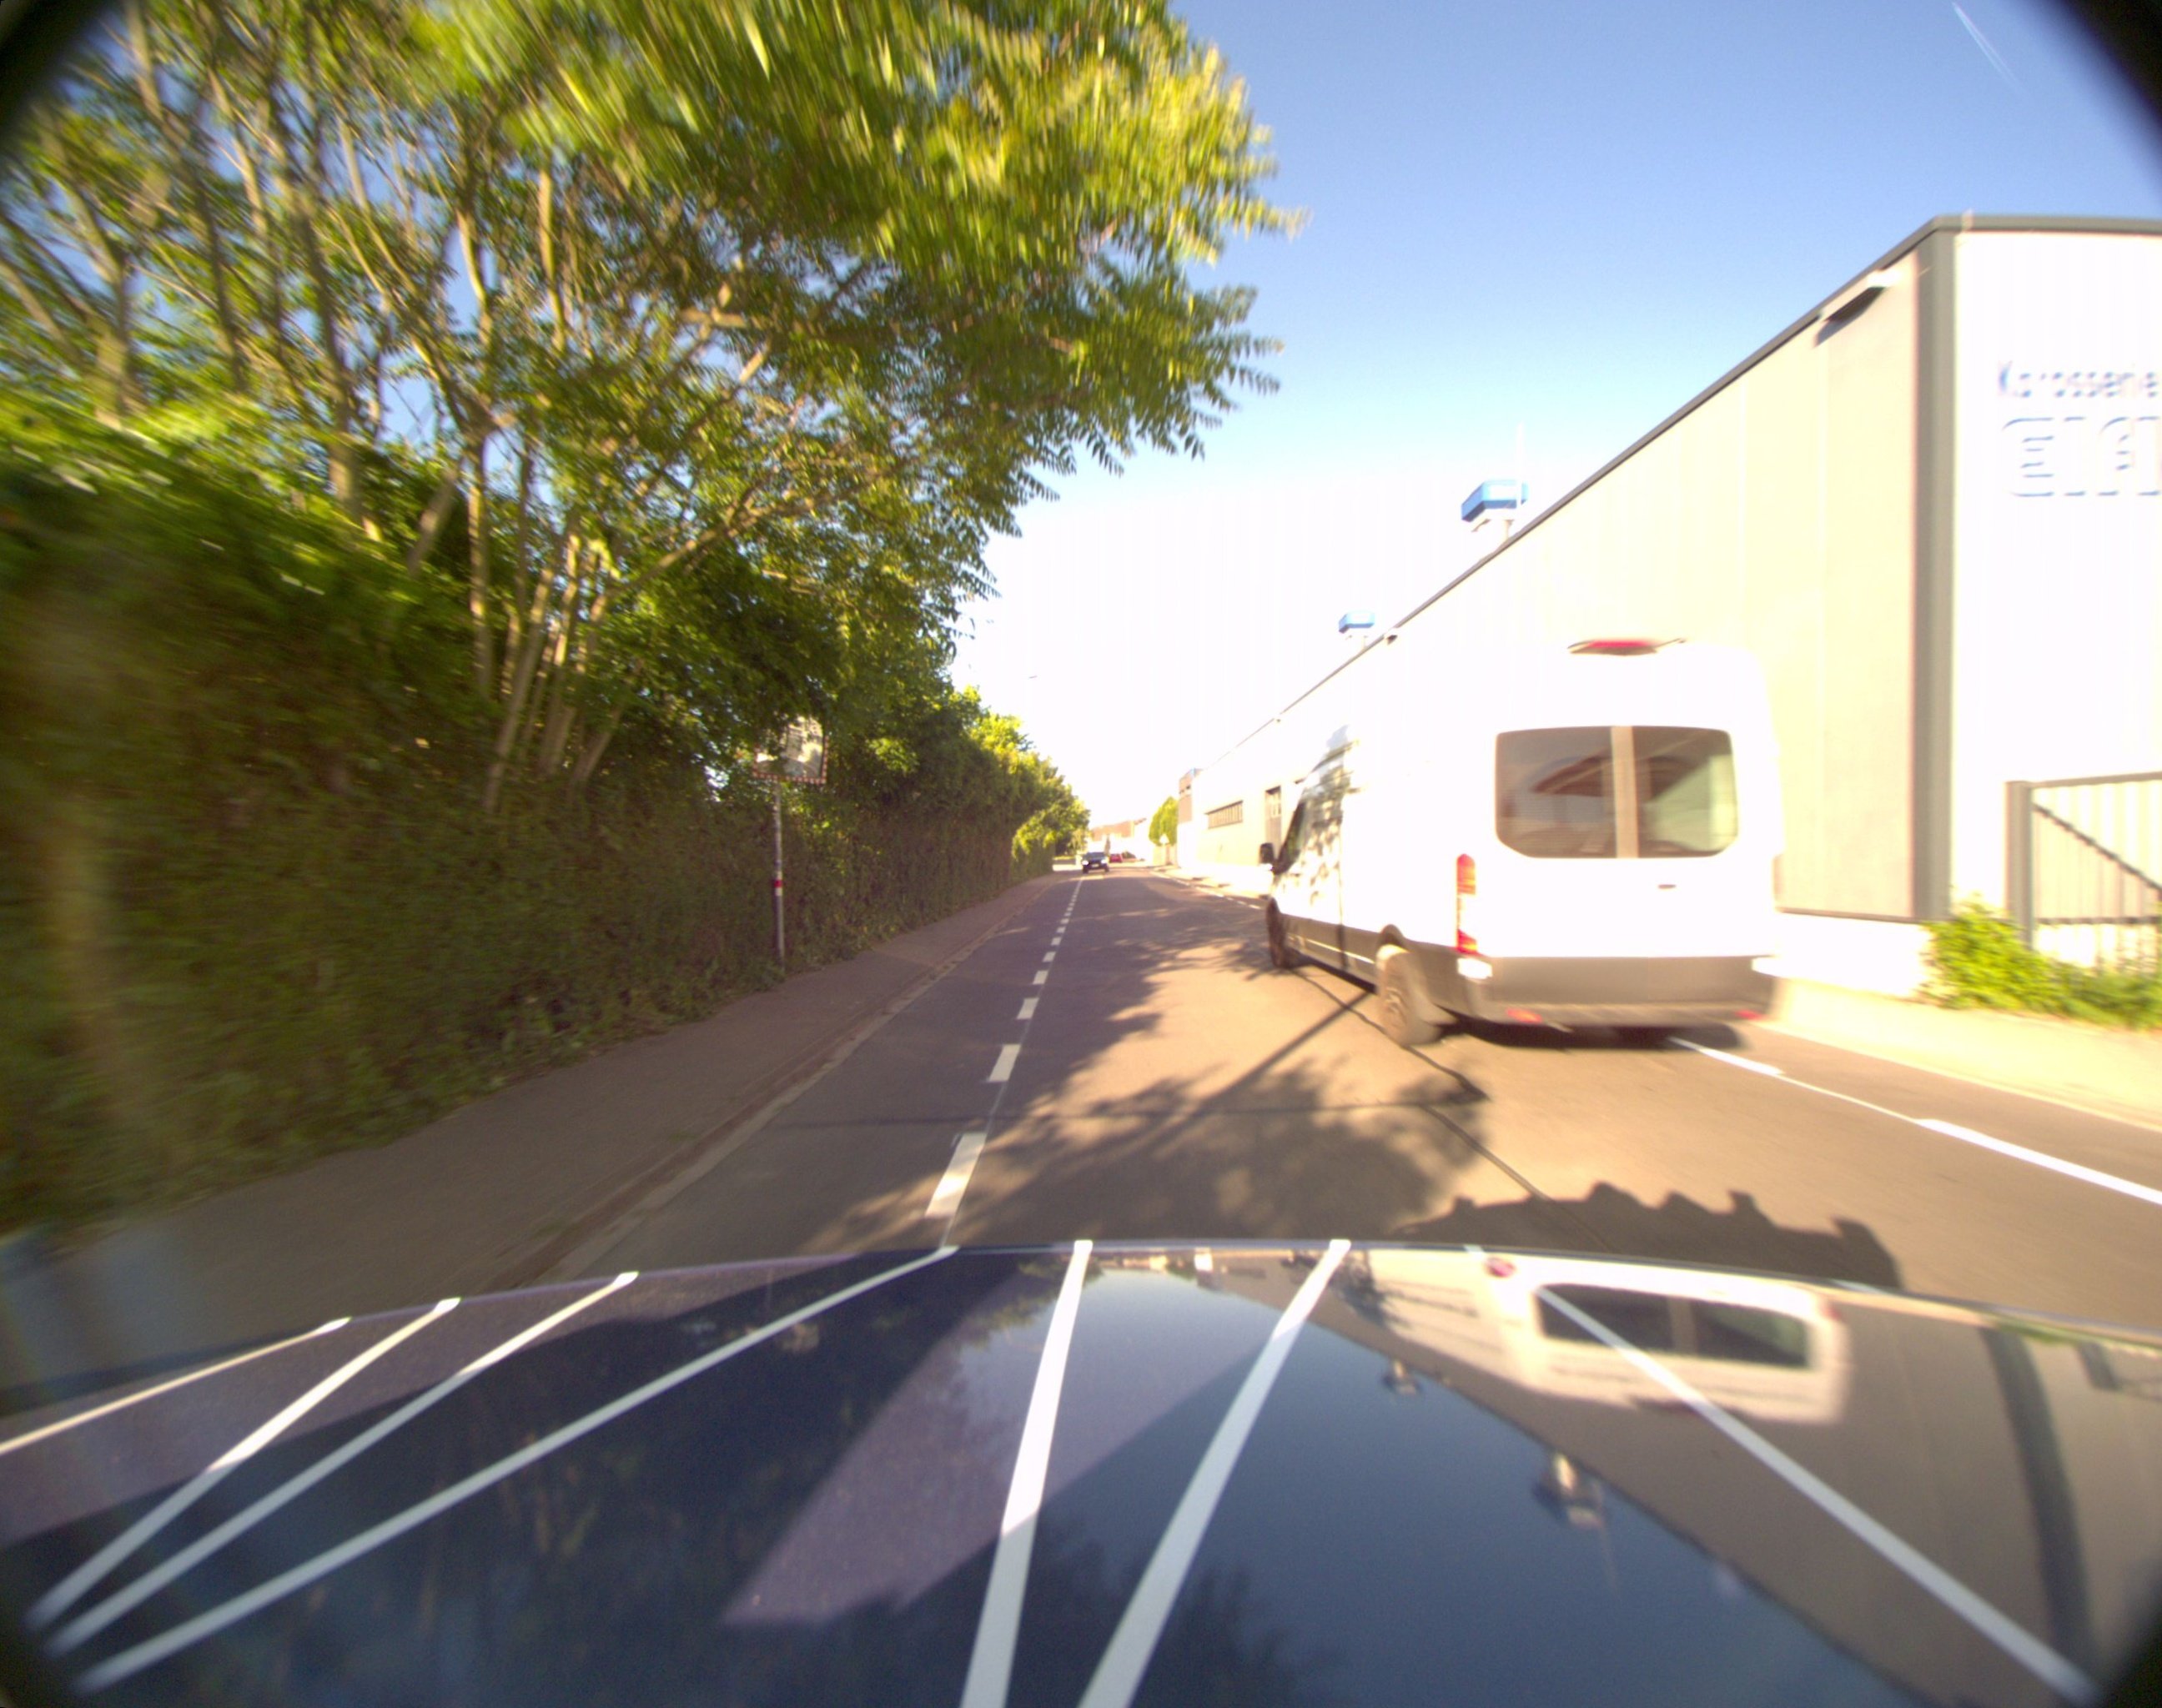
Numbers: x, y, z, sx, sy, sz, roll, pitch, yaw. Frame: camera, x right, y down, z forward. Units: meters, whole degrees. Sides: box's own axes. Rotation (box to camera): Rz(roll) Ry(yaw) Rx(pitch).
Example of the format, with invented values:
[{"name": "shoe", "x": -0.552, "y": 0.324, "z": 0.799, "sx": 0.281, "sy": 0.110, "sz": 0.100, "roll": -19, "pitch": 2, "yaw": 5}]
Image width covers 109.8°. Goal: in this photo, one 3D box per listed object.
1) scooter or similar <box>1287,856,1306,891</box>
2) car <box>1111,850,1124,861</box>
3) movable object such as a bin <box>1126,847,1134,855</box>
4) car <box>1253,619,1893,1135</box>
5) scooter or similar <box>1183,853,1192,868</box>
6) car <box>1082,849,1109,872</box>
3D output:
[{"name": "scooter or similar", "x": 8.002, "y": 0.704, "z": 28.274, "sx": 0.417, "sy": 1.260, "sz": 1.059, "roll": -1, "pitch": 1, "yaw": 1}, {"name": "car", "x": 5.180, "y": 0.219, "z": 108.789, "sx": 1.724, "sy": 1.531, "sz": 4.076, "roll": 1, "pitch": 0, "yaw": 1}, {"name": "movable object such as a bin", "x": 9.308, "y": -0.542, "z": 144.372, "sx": 1.203, "sy": 1.463, "sz": 1.371, "roll": -1, "pitch": 1, "yaw": -10}, {"name": "car", "x": 3.318, "y": 0.083, "z": 7.084, "sx": 2.128, "sy": 2.765, "sz": 5.926, "roll": 1, "pitch": 1, "yaw": 1}, {"name": "scooter or similar", "x": 8.816, "y": 0.552, "z": 62.872, "sx": 0.508, "sy": 1.196, "sz": 1.753, "roll": -4, "pitch": 1, "yaw": 2}, {"name": "car", "x": 1.186, "y": 0.474, "z": 59.531, "sx": 2.036, "sy": 1.624, "sz": 4.613, "roll": -1, "pitch": 1, "yaw": 2}]
